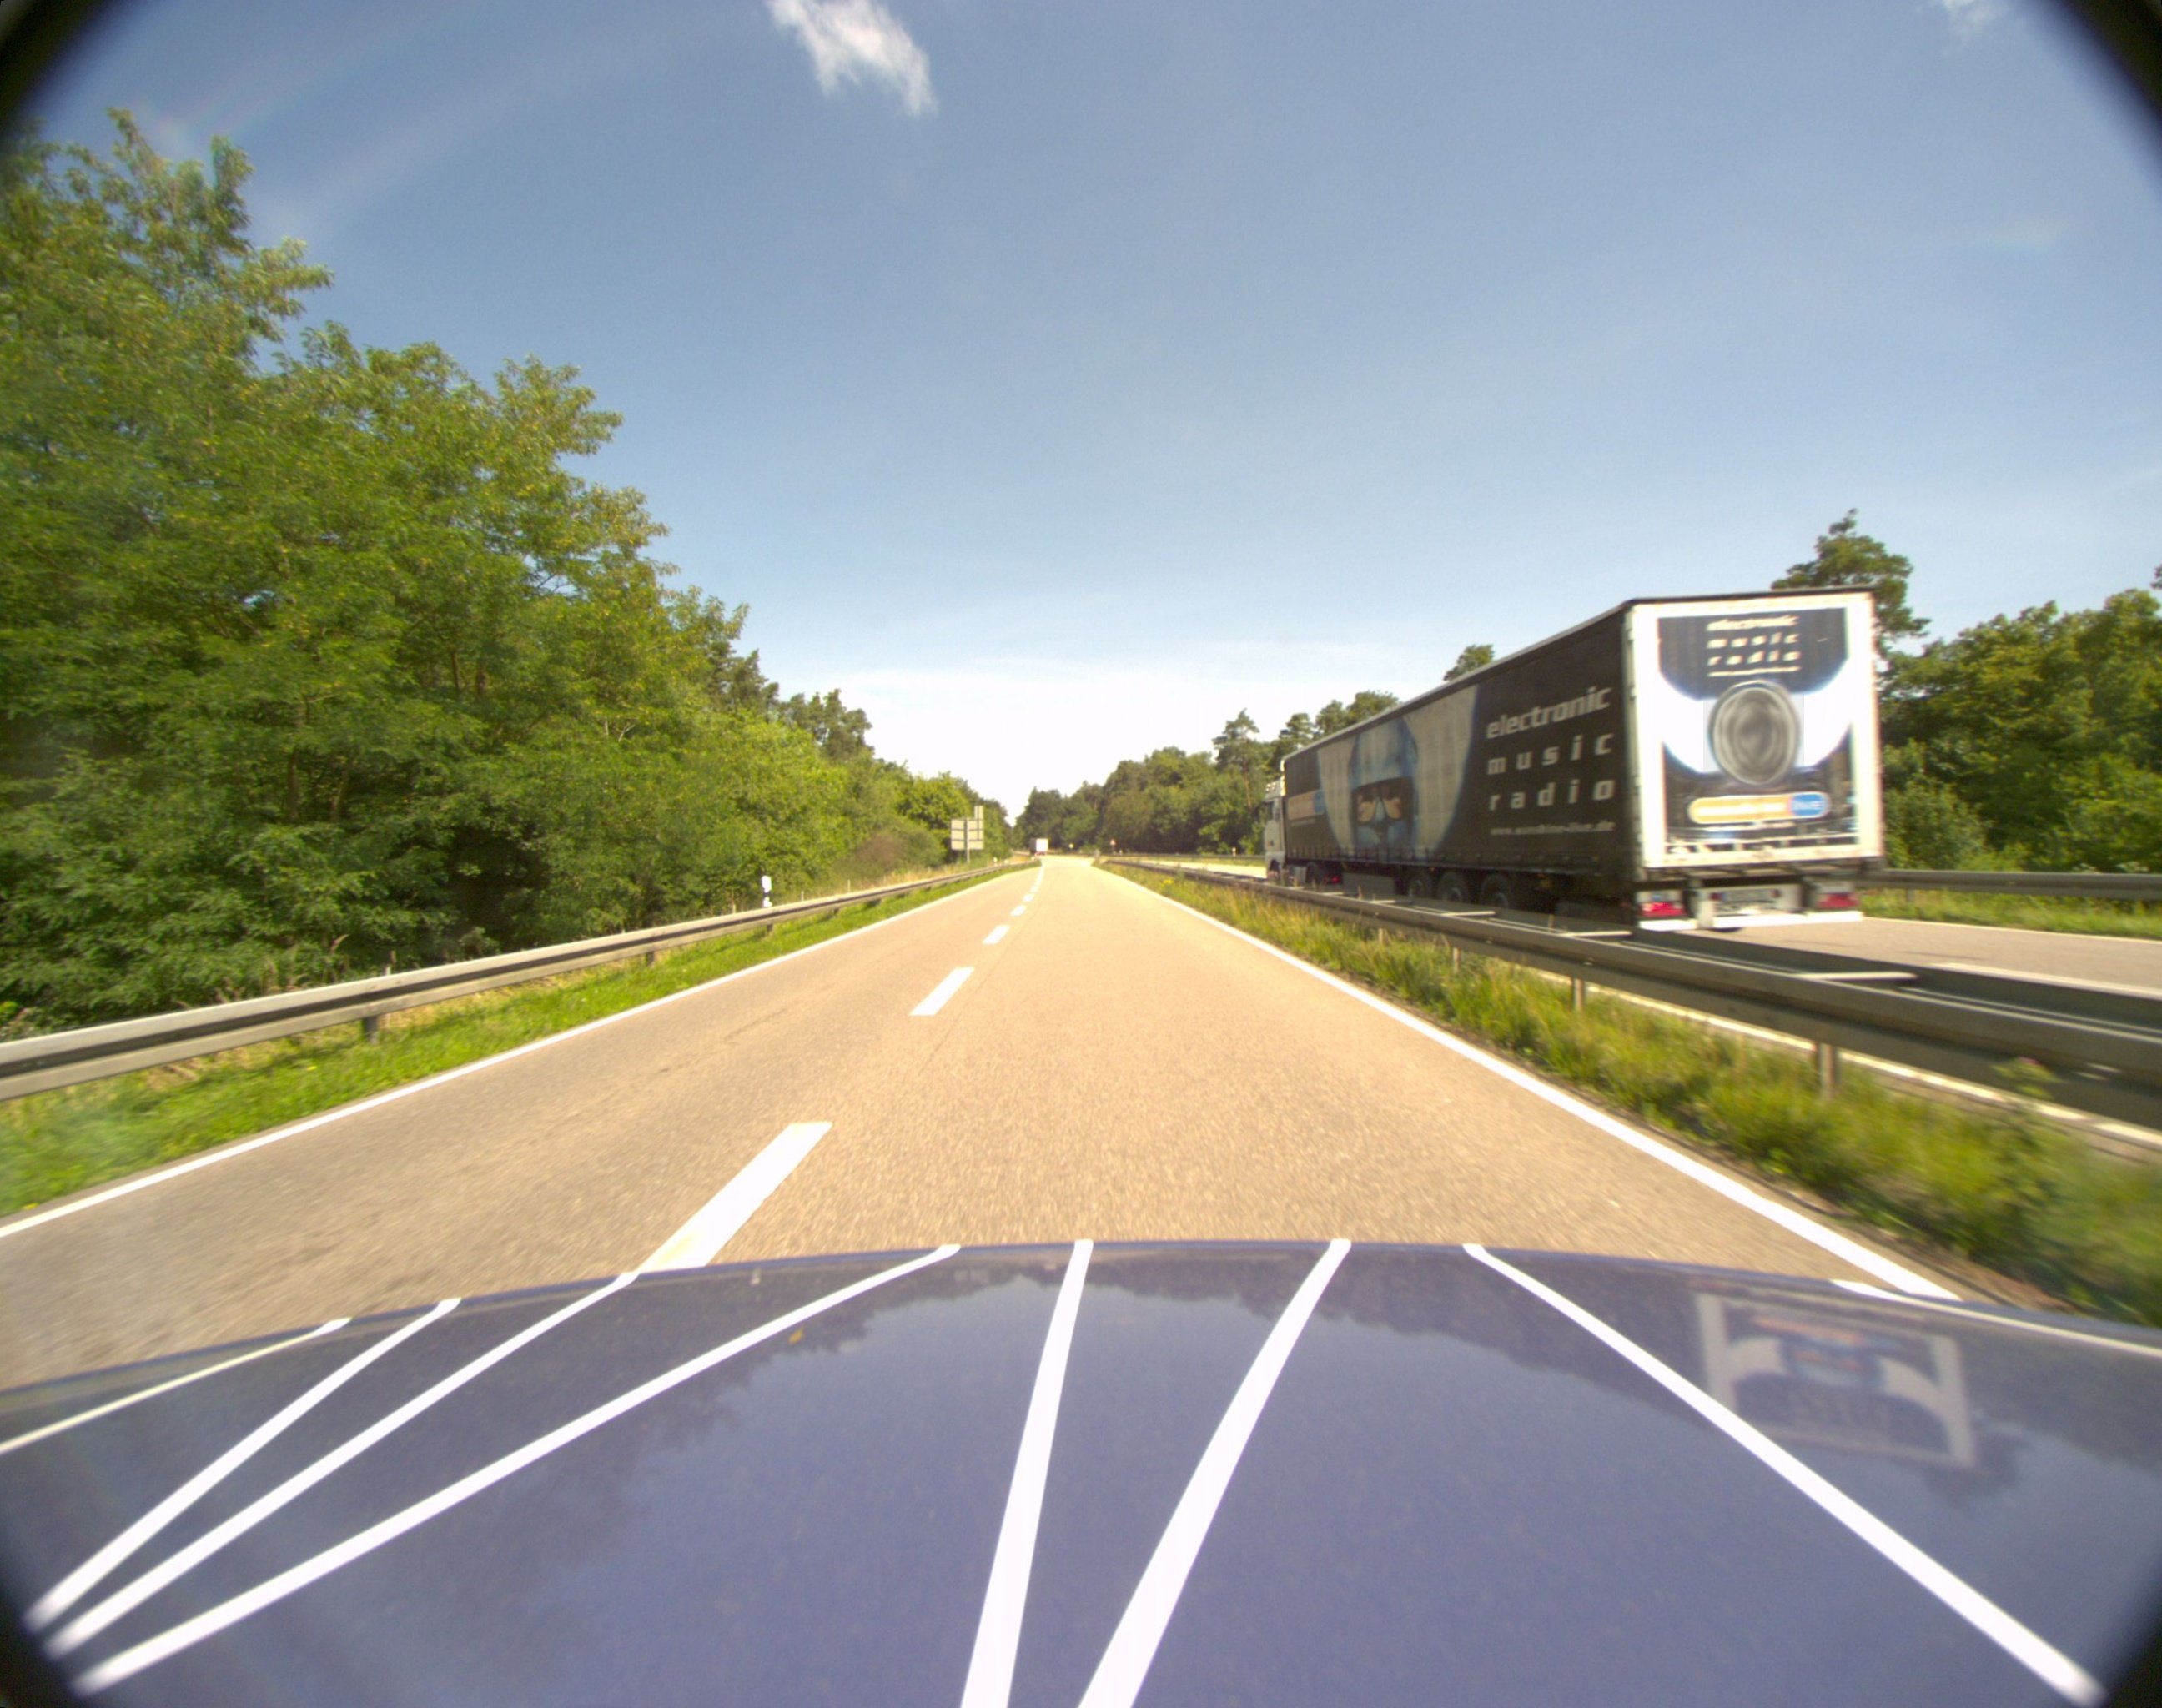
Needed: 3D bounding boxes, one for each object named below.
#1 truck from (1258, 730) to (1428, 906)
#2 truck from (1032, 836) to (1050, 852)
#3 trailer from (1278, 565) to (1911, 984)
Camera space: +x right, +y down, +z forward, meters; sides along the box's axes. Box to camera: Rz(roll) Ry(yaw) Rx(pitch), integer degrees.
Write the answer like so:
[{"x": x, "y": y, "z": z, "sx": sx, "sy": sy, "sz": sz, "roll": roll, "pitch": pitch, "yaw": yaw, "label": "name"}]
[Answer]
[{"x": 7.052, "y": -0.893, "z": 21.349, "sx": 2.675, "sy": 4.164, "sz": 5.713, "roll": -2, "pitch": 1, "yaw": 0, "label": "truck"}, {"x": -10.119, "y": -2.414, "z": 190.930, "sx": 2.792, "sy": 3.854, "sz": 14.132, "roll": -3, "pitch": 1, "yaw": -10, "label": "truck"}, {"x": 7.072, "y": -0.848, "z": 14.769, "sx": 2.675, "sy": 4.163, "sz": 14.061, "roll": -2, "pitch": 0, "yaw": 0, "label": "trailer"}]
